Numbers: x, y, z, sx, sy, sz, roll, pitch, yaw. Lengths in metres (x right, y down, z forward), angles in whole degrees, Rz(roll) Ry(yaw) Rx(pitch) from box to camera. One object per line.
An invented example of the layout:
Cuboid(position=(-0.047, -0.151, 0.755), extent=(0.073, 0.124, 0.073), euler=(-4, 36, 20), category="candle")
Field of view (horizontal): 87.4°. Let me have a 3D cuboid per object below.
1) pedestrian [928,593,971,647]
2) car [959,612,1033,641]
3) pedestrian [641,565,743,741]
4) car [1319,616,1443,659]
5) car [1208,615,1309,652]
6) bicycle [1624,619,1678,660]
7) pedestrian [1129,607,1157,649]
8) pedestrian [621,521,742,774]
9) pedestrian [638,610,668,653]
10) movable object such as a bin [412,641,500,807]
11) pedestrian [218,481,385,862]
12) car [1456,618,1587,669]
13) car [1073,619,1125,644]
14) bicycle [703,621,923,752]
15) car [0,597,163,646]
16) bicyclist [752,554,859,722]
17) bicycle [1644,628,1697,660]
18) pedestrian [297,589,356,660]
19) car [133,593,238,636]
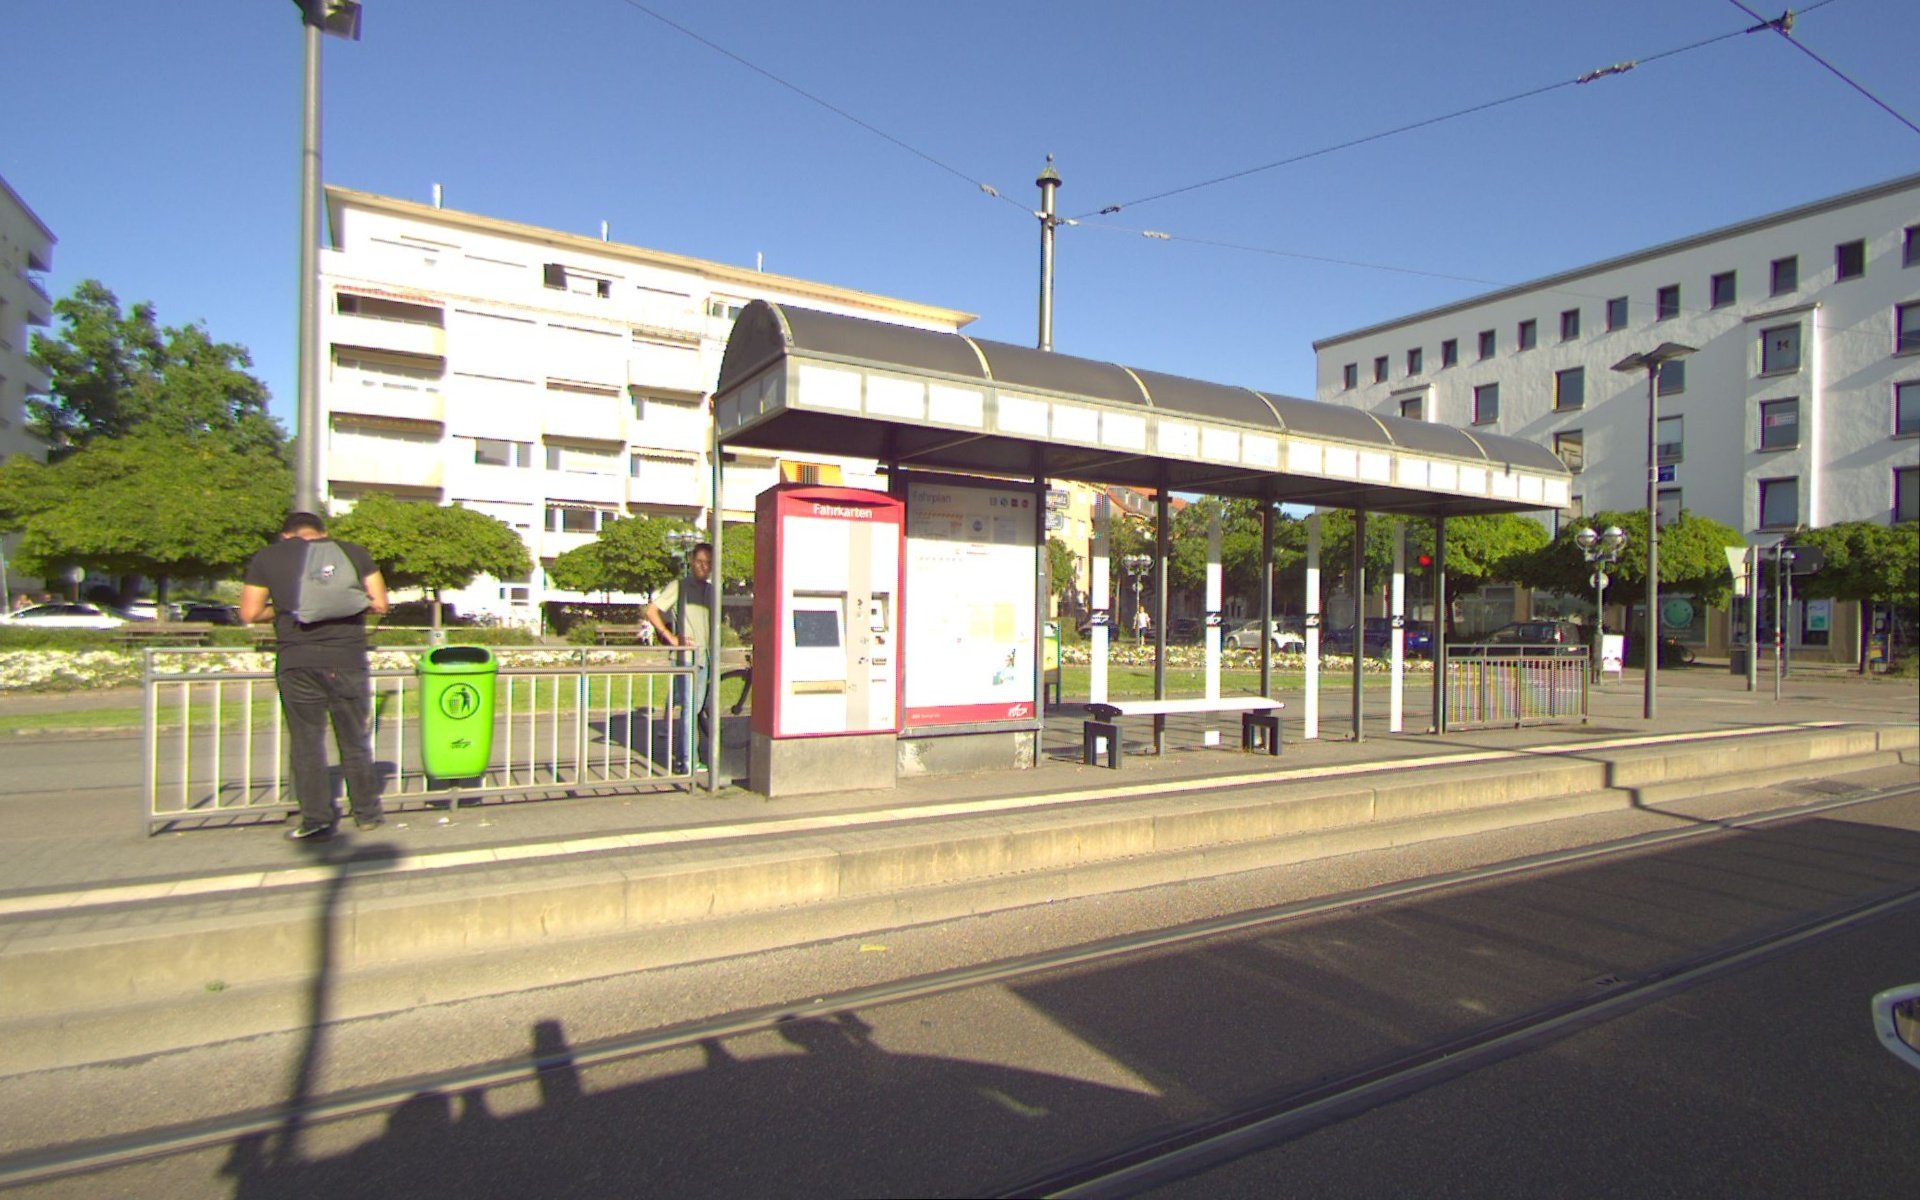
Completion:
Cuboid(position=(-0.411, 0.784, 39.390), extent=(1.219, 2.040, 1.214), euler=(1, -1, -30), category="pedestrian")
Cuboid(position=(1.767, 1.292, 49.245), extent=(3.271, 1.372, 1.638), euler=(1, -1, -29), category="car")
Cuboid(position=(-2.726, 0.529, 10.293), extent=(0.958, 1.702, 0.994), euler=(0, -2, -14), category="pedestrian")
Cuboid(position=(17.856, 1.563, 42.823), extent=(1.978, 1.684, 4.581), euler=(1, -1, -31), category="car")
Cuboid(position=(14.169, 1.547, 47.962), extent=(1.835, 1.628, 4.581), euler=(1, -1, -31), category="car")
Cuboid(position=(27.875, 1.598, 40.497), extent=(2.585, 1.628, 0.616), euler=(1, -1, -26), category="bicycle")
Cuboid(position=(8.117, 1.220, 44.601), extent=(0.856, 1.841, 0.944), euler=(1, 0, -19), category="pedestrian")
Cuboid(position=(-2.103, 0.354, 7.578), extent=(0.760, 1.797, 0.613), euler=(1, -3, -28), category="pedestrian")
Cuboid(position=(-10.268, 1.045, 33.595), extent=(0.673, 1.378, 1.042), euler=(1, -1, -34), category="pedestrian")
Cuboid(position=(-2.782, 0.666, 5.556), extent=(0.411, 0.871, 0.335), euler=(1, -1, -27), category="movable object such as a bin")
Cuboid(position=(-3.237, 0.340, 4.989), extent=(0.599, 1.740, 0.546), euler=(1, -3, -28), category="pedestrian")
Cuboid(position=(21.058, 1.594, 37.833), extent=(1.804, 1.728, 3.968), euler=(1, -1, -30), category="car")
Cuboid(position=(9.313, 2.090, 67.110), extent=(1.887, 1.514, 4.343), euler=(2, 0, 31), category="car")
Cuboid(position=(-1.386, 0.786, 9.388), extent=(1.944, 1.128, 0.728), euler=(2, 0, -16), category="bicycle")
Cuboid(position=(-25.627, 0.623, 29.093), extent=(3.672, 1.318, 1.984), euler=(1, -1, -30), category="car")
Cuboid(position=(-1.454, 0.346, 9.367), extent=(0.862, 1.475, 0.827), euler=(2, 0, -15), category="bicyclist")
Cuboid(position=(28.201, 1.751, 39.852), extent=(2.586, 1.206, 0.615), euler=(1, -1, -27), category="bicycle")
Cuboid(position=(-16.743, 0.642, 26.571), extent=(1.161, 1.811, 1.074), euler=(1, 0, -26), category="pedestrian")
Cuboid(position=(-28.698, 0.551, 37.305), extent=(2.899, 1.506, 1.407), euler=(1, -1, -30), category="car")
